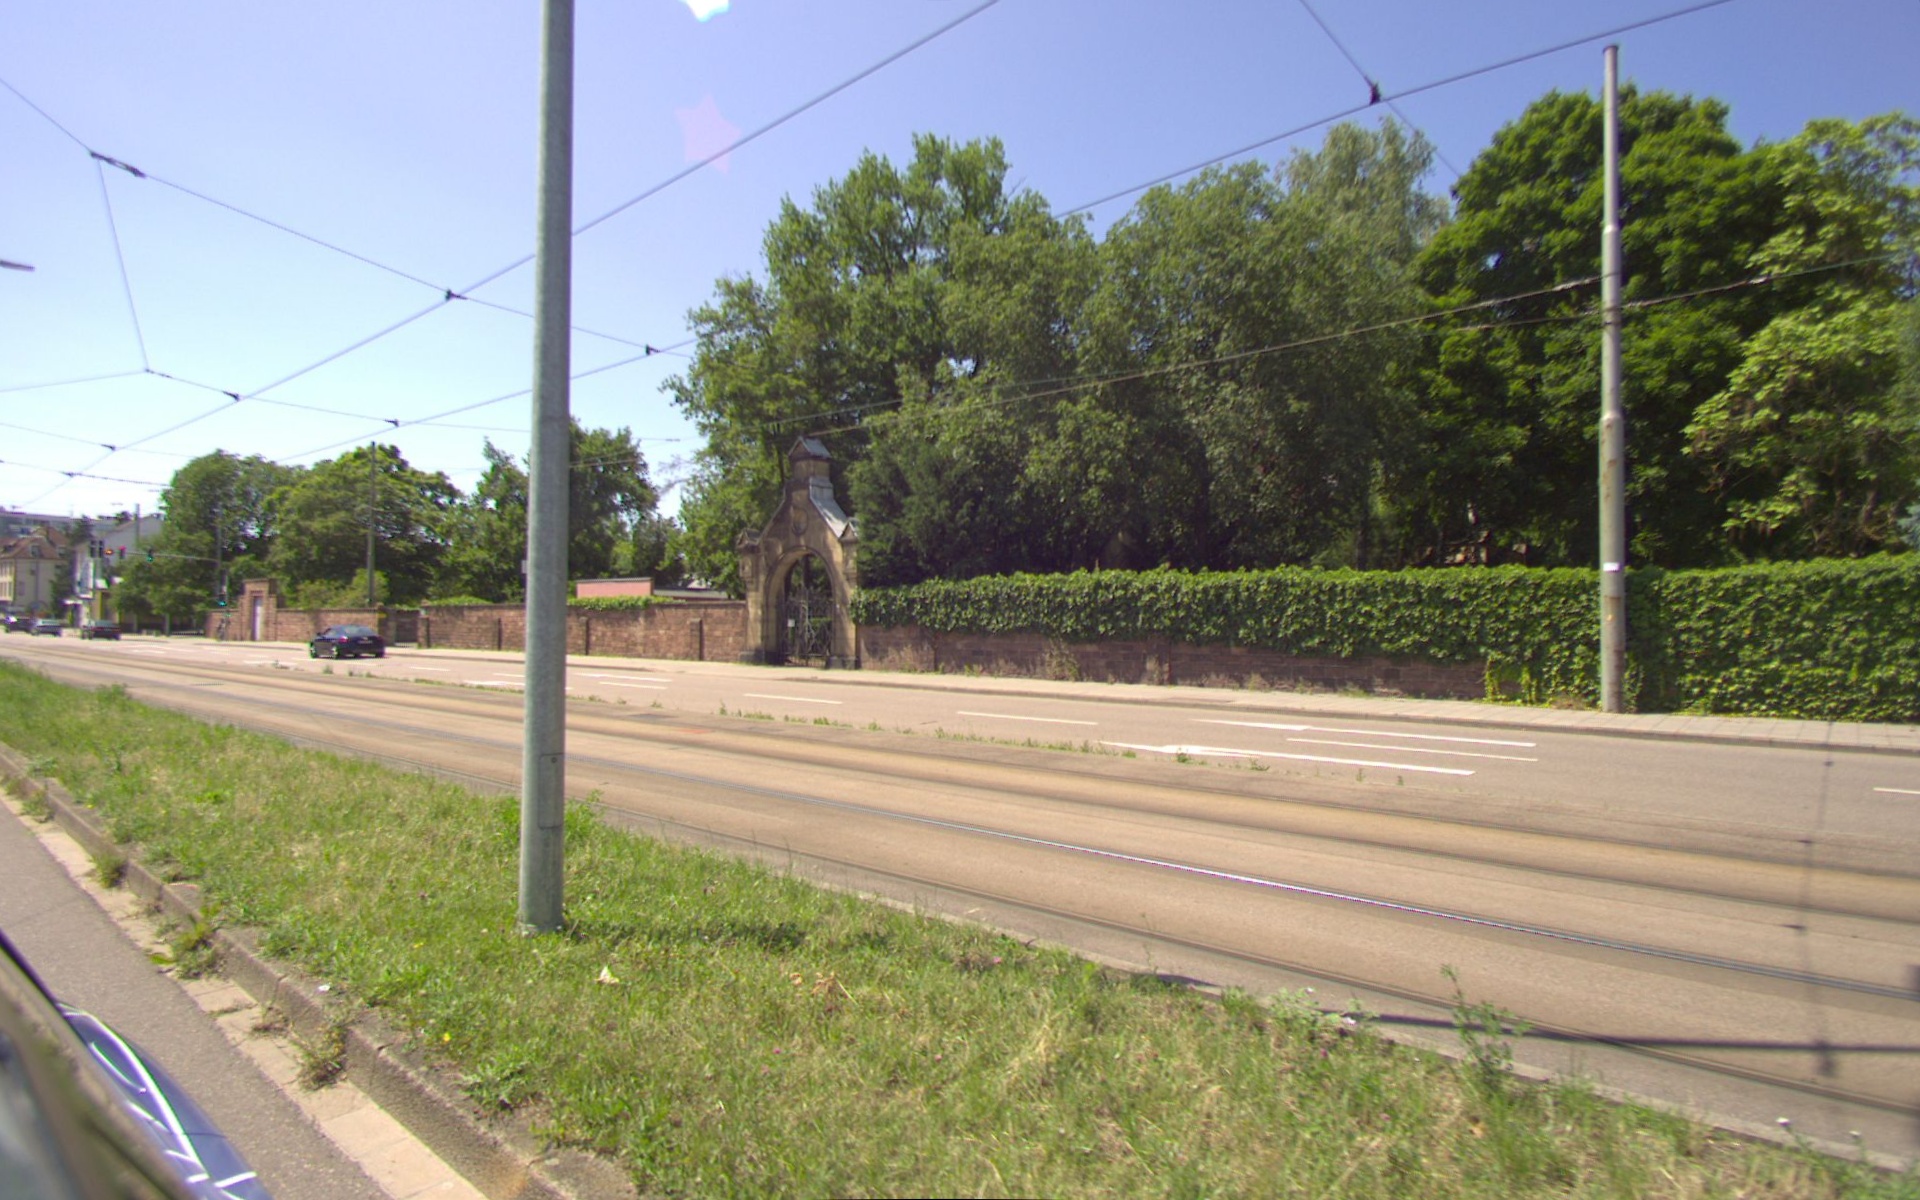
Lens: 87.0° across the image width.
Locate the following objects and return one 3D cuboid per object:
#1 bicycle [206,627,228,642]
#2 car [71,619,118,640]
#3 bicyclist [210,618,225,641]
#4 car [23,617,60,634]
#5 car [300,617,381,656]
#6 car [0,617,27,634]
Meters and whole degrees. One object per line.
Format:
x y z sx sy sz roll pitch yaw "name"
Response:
-49.025 2.292 66.776 2.112 0.964 0.646 -1 -2 39 "bicycle"
-62.230 2.105 72.763 5.031 1.427 1.822 -1 1 41 "car"
-49.042 1.912 66.808 0.661 1.508 0.646 -1 -2 39 "bicyclist"
-80.009 2.218 88.099 4.708 1.427 1.822 -1 1 41 "car"
-25.091 1.443 40.955 4.122 1.459 1.737 -1 0 42 "car"
-93.683 2.513 99.896 4.462 1.567 1.822 -1 -2 40 "car"
